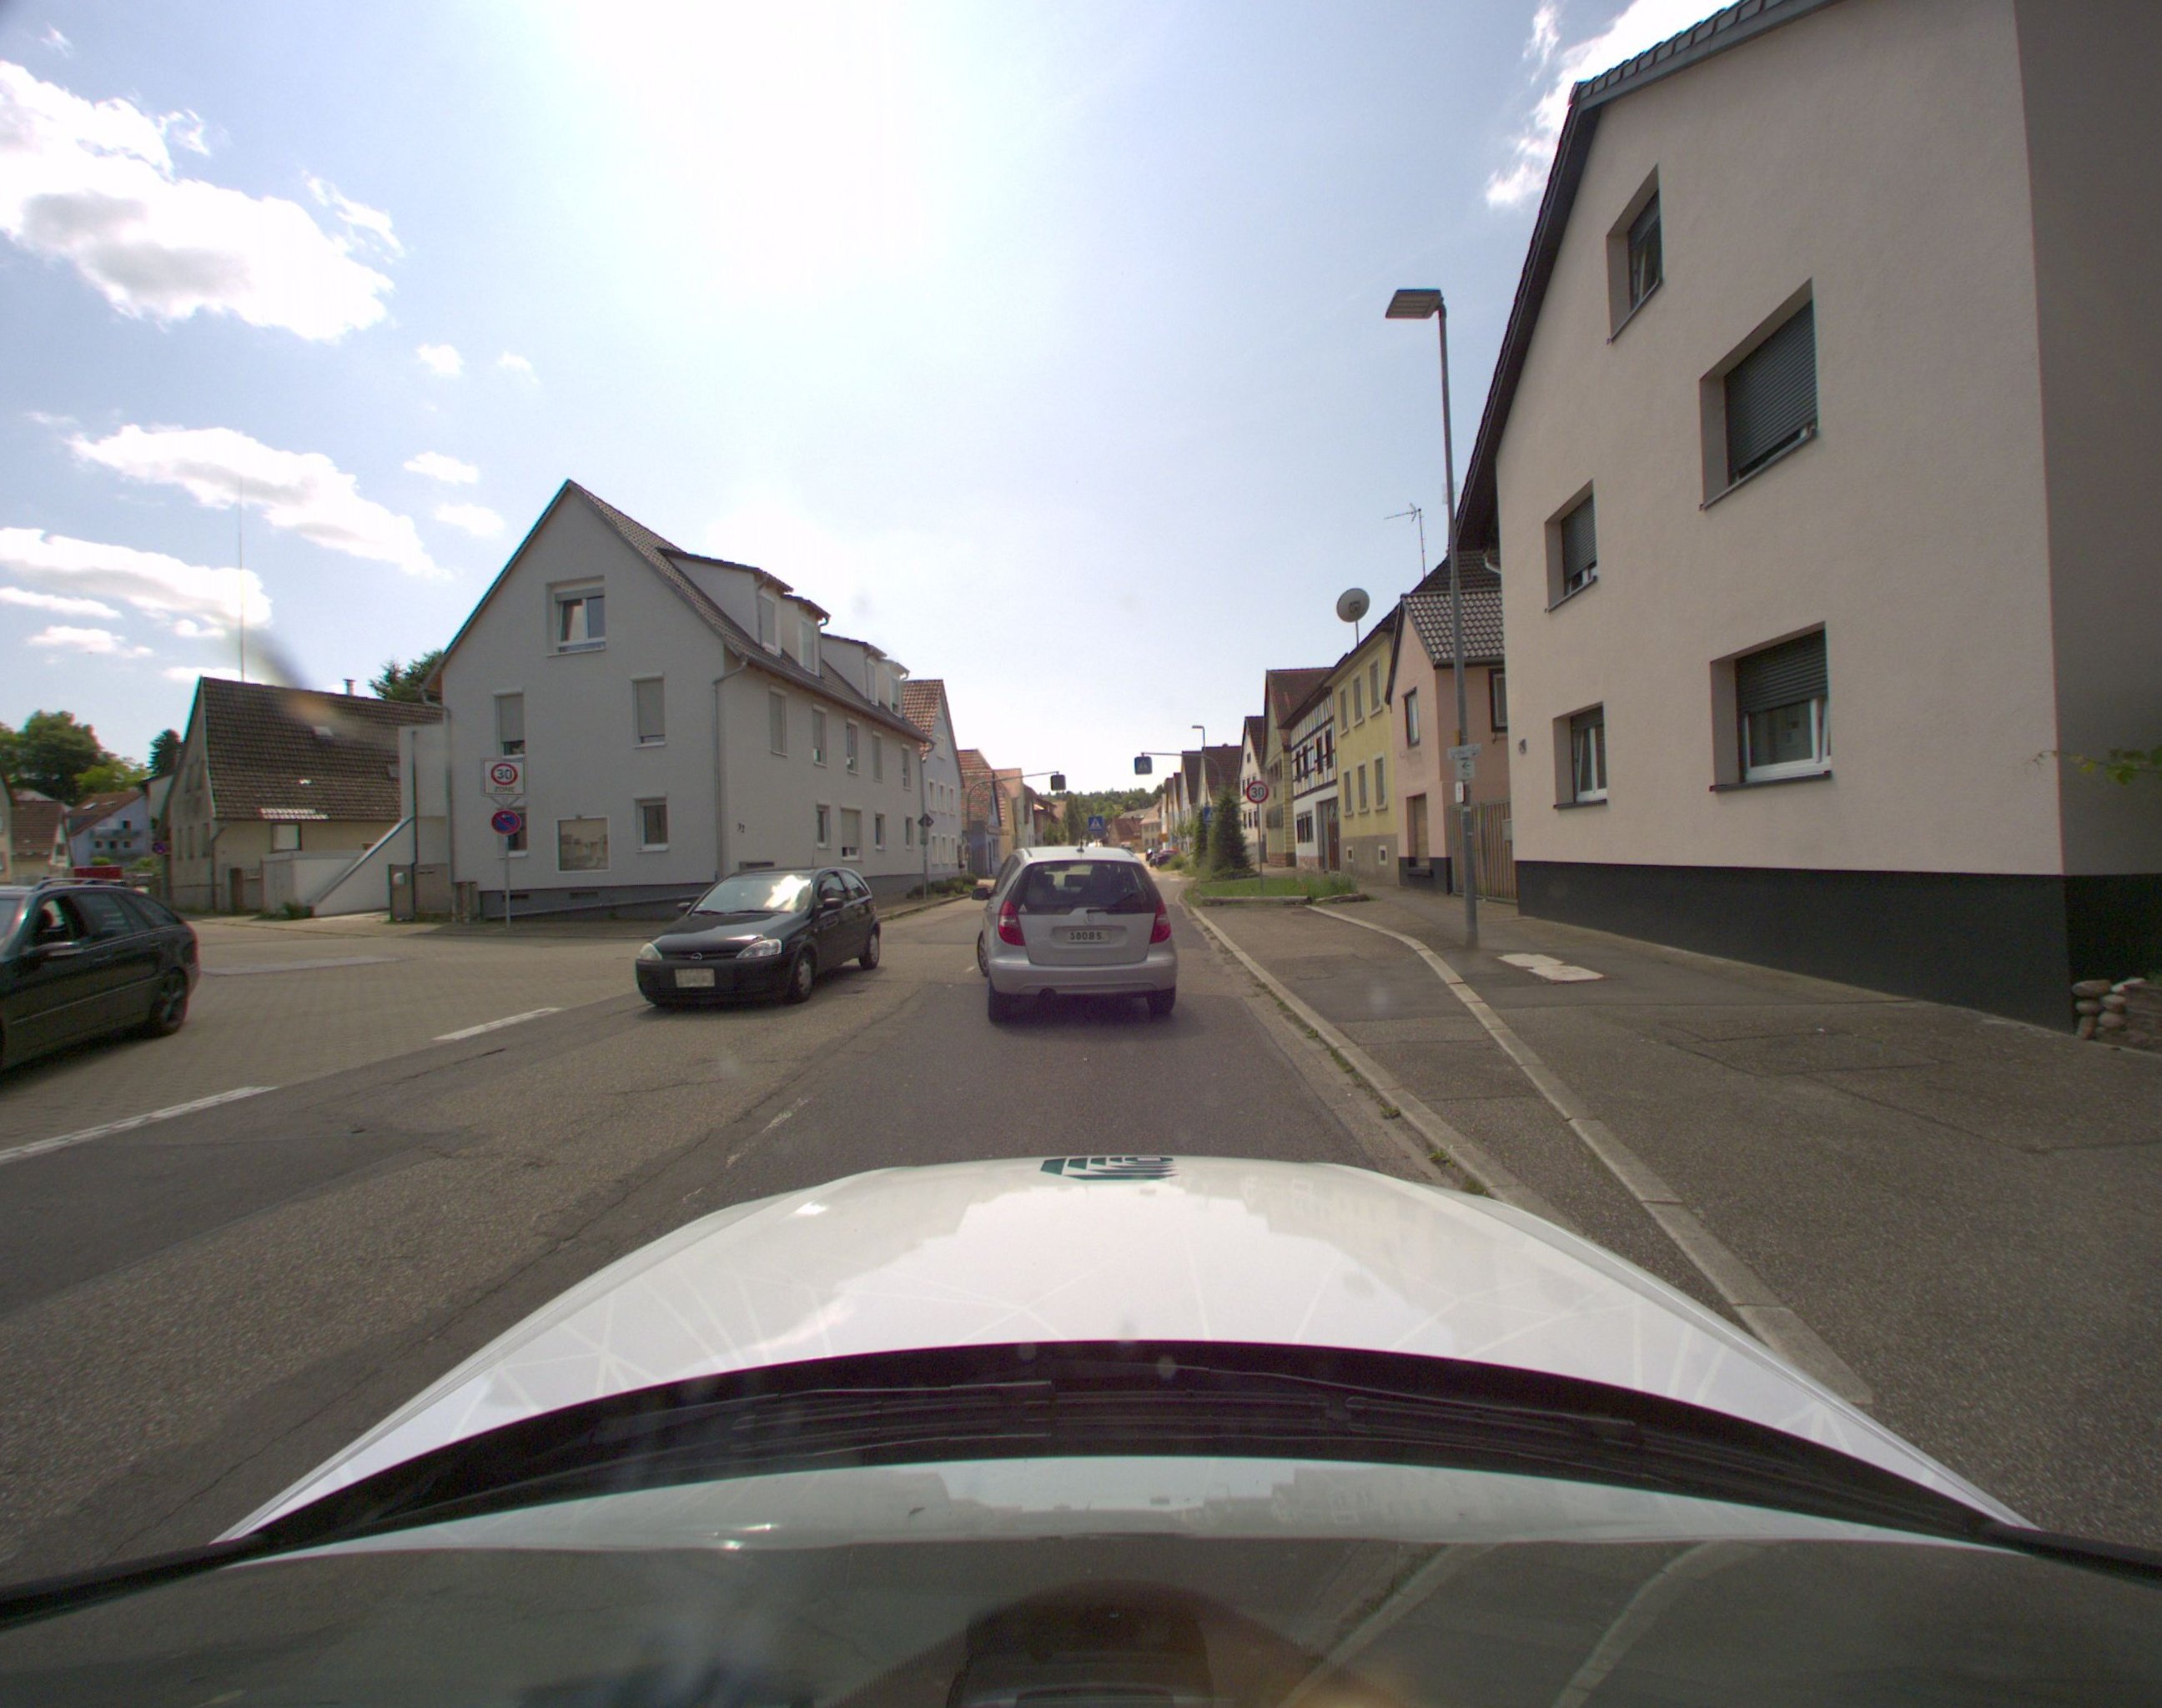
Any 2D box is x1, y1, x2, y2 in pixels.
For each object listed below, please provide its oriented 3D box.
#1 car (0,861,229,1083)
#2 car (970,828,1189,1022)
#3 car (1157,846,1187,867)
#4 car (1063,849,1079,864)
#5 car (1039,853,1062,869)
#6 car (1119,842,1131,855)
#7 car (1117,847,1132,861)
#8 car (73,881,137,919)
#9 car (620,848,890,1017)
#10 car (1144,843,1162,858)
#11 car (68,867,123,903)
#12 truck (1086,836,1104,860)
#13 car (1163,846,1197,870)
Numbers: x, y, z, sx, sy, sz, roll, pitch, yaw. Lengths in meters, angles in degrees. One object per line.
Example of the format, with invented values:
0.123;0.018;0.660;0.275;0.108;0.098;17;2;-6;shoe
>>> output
-8.370;0.809;5.916;1.820;1.412;4.590;0;-2;-31;car
-0.240;0.617;8.889;1.810;1.643;3.716;0;-1;-10;car
6.912;0.227;62.331;1.985;1.508;4.002;-1;-2;2;car
-1.119;0.327;93.215;1.660;1.596;4.002;-1;-2;3;car
-2.758;0.628;73.168;1.989;1.321;3.704;-1;-2;-3;car
7.889;-0.962;145.420;1.986;2.014;4.002;-1;-2;2;car
6.199;-0.029;115.197;1.986;1.816;4.001;-1;-2;1;car
-41.937;1.975;34.988;3.431;1.530;1.500;-3;-2;36;car
-3.550;0.798;9.642;1.494;1.540;3.857;-2;-2;2;car
9.353;-0.447;105.714;1.986;1.816;4.001;-1;-2;1;car
-46.353;1.456;38.296;3.431;1.635;1.406;-3;-2;36;car
1.739;-0.672;97.648;1.986;2.537;6.741;-1;-2;2;truck
6.726;0.316;55.658;1.985;1.508;4.002;-1;-2;2;car
